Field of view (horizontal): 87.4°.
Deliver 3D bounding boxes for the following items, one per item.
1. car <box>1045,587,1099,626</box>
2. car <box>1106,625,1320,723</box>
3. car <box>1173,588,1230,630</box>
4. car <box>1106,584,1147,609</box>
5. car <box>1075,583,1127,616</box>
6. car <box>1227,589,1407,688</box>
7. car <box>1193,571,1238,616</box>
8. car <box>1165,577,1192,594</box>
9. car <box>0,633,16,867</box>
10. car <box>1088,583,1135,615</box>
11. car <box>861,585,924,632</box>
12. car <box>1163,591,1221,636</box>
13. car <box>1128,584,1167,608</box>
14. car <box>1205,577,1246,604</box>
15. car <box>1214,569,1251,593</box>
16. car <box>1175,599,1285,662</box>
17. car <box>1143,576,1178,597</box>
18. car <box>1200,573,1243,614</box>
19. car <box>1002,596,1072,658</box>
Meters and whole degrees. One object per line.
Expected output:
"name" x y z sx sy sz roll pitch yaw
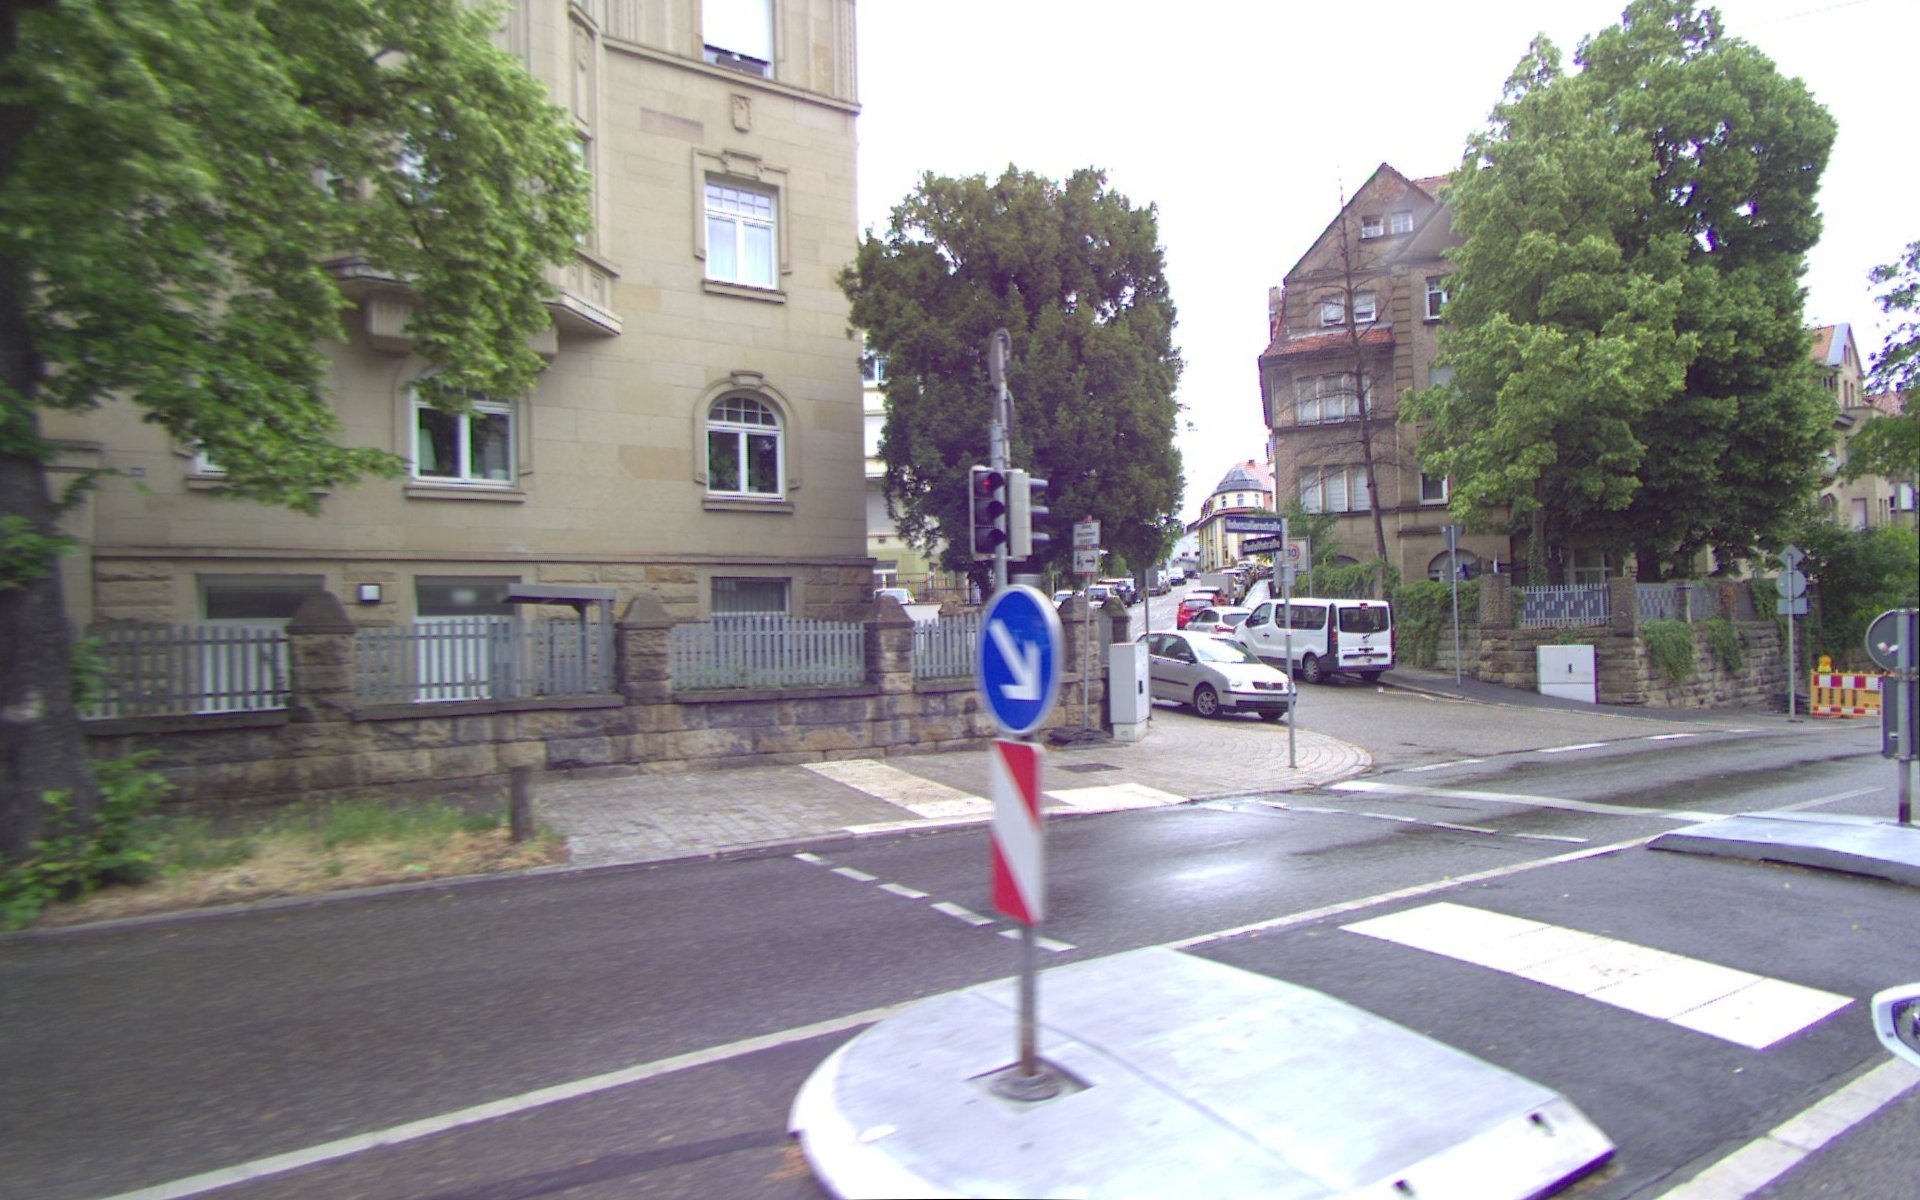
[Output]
"car" 5.164 0.248 45.882 1.717 1.527 4.159 4 2 15
"car" 4.549 1.307 18.669 1.801 1.427 3.851 4 0 -24
"car" 10.816 0.387 44.763 2.071 1.649 4.444 4 1 18
"car" 10.300 -0.233 61.995 1.882 1.428 3.990 4 2 18
"car" 7.229 -0.048 51.183 1.813 1.477 4.158 4 2 18
"car" 8.973 0.880 25.761 1.992 2.076 4.661 0 3 -15
"car" 12.708 -0.337 49.784 1.760 2.068 3.937 4 2 18
"car" 19.589 -1.301 90.074 1.924 1.428 4.461 4 2 17
"car" -7.945 0.932 5.086 4.252 1.580 1.733 2 -1 -30
"car" 8.526 -0.072 56.198 1.882 1.531 4.248 4 3 18
"car" -2.417 0.318 36.822 1.740 1.494 3.837 4 0 3
"car" 9.205 0.489 39.658 1.993 1.556 4.445 4 1 15
"car" 13.270 -0.244 70.905 2.071 1.427 4.445 4 0 18
"car" 15.733 -0.593 59.395 2.071 1.428 4.443 4 2 18
"car" 17.944 -1.246 66.126 2.071 1.428 4.443 4 2 18
"car" 8.263 0.886 31.212 2.072 1.535 4.440 -1 4 -2
"car" 15.323 -1.051 76.746 2.071 1.428 4.443 4 2 18
"car" 14.064 -0.336 53.926 1.884 2.038 4.444 4 1 18
"car" 2.342 0.826 31.581 1.882 1.697 4.159 4 0 1
